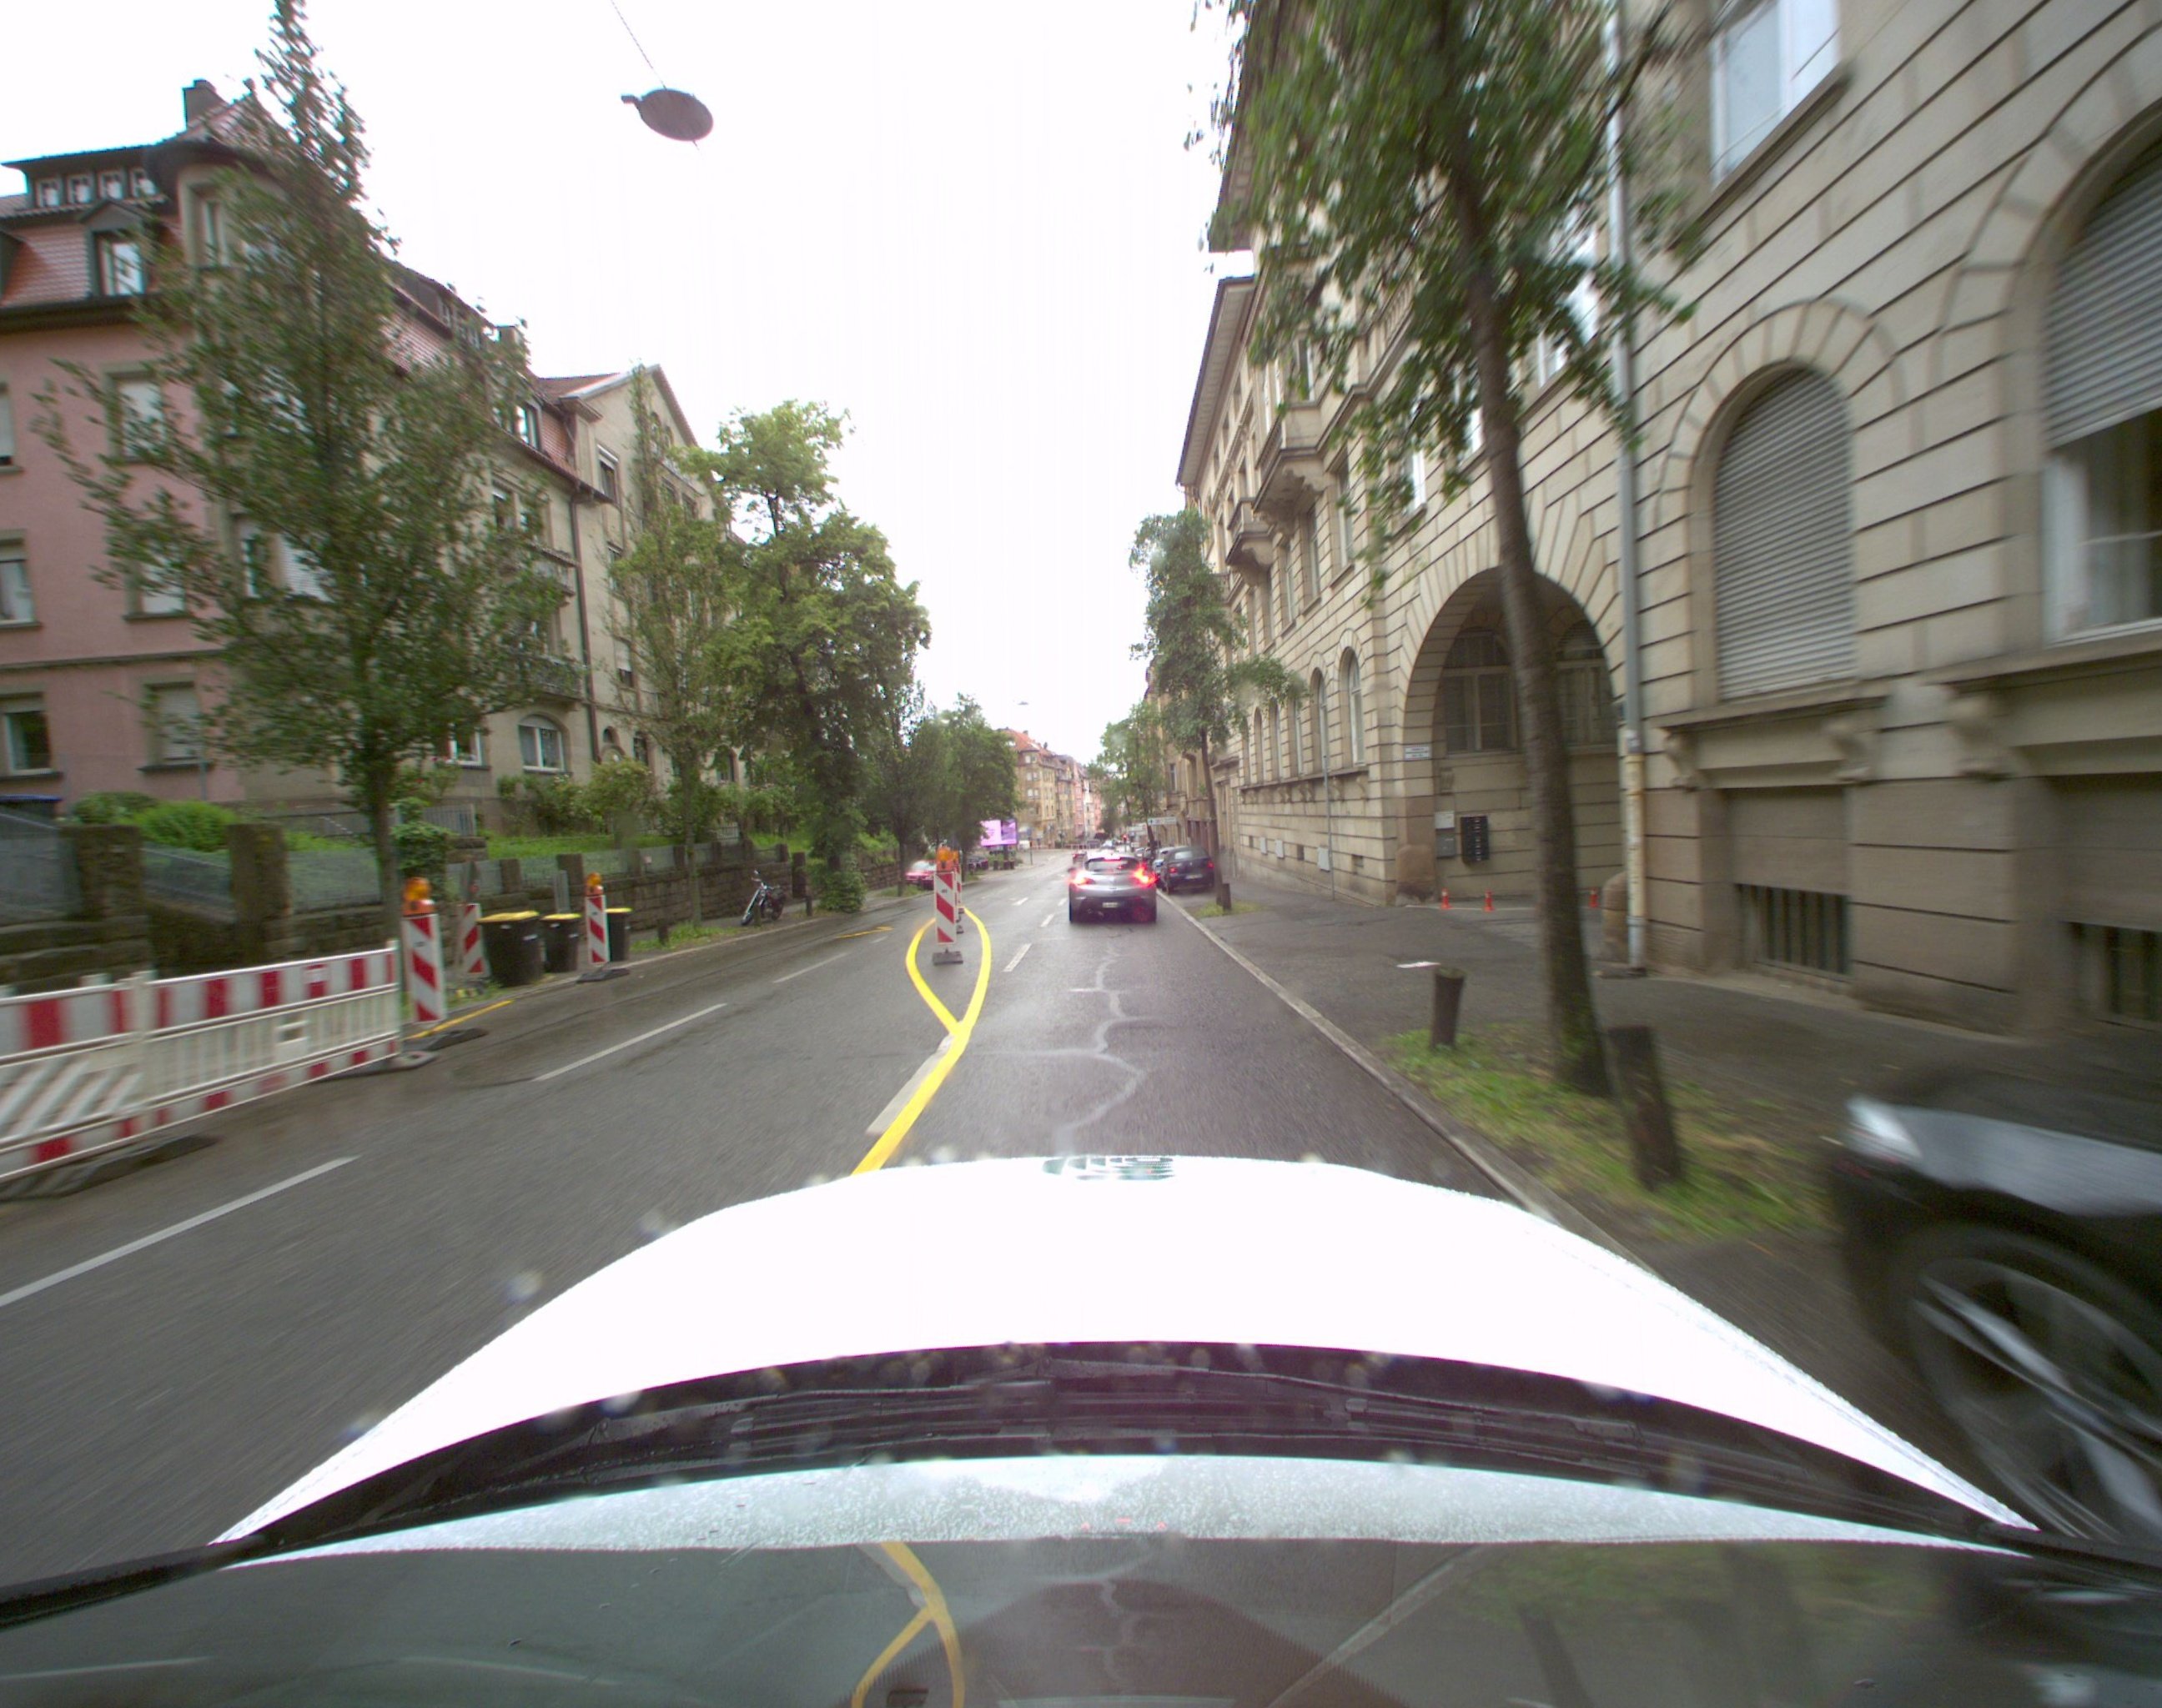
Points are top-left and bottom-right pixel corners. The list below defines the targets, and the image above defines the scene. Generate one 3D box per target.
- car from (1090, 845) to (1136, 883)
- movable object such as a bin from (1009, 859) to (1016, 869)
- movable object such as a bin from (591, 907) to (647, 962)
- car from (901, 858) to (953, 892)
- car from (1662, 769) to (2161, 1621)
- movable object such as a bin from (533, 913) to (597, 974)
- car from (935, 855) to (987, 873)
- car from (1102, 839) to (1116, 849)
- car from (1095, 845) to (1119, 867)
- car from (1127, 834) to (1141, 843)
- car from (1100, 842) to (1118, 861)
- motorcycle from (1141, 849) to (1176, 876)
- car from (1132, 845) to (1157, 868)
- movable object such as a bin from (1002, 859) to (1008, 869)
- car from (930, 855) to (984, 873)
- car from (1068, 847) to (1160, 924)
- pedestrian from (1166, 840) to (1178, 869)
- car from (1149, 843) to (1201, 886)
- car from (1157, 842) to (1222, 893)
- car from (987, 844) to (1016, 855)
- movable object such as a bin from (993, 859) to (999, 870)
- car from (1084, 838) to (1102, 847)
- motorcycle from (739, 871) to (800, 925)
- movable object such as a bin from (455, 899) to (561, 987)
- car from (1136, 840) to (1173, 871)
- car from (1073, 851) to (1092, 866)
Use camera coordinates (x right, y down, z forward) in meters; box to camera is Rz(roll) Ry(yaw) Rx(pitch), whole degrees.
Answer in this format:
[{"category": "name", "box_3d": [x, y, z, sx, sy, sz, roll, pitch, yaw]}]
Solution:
[{"category": "car", "box_3d": [1.365, 0.415, 36.046, 1.767, 1.504, 3.868, -2, 1, -1]}, {"category": "movable object such as a bin", "box_3d": [-7.153, 1.058, 84.744, 0.657, 1.058, 0.626, -1, 0, -7]}, {"category": "movable object such as a bin", "box_3d": [-8.287, 1.436, 14.637, 0.601, 0.907, 0.624, -1, 1, 3]}, {"category": "car", "box_3d": [-7.652, 0.993, 40.829, 1.631, 1.439, 4.082, -4, 1, 2]}, {"category": "car", "box_3d": [2.709, 0.563, 0.156, 1.752, 1.461, 4.724, -6, 0, 1]}, {"category": "movable object such as a bin", "box_3d": [-8.399, 1.450, 13.263, 0.601, 0.907, 0.624, -1, 1, 3]}, {"category": "car", "box_3d": [-10.703, 0.896, 72.529, 4.321, 1.243, 1.633, -4, 1, -18]}, {"category": "car", "box_3d": [5.224, -1.863, 150.470, 1.980, 1.684, 4.013, -1, 0, 12]}, {"category": "car", "box_3d": [2.050, 0.145, 65.839, 1.652, 1.542, 3.664, -5, 0, -1]}, {"category": "car", "box_3d": [10.212, -2.979, 156.891, 1.980, 1.684, 4.013, -1, 0, 12]}, {"category": "car", "box_3d": [2.697, -0.249, 77.812, 1.650, 1.782, 3.667, -2, 0, 2]}, {"category": "motorcycle", "box_3d": [3.841, 0.408, 40.130, 0.649, 1.235, 1.994, -2, -1, 41]}, {"category": "car", "box_3d": [4.722, 0.179, 61.270, 1.631, 1.524, 3.860, -4, 1, 2]}, {"category": "movable object such as a bin", "box_3d": [-7.774, 1.034, 83.658, 0.624, 1.058, 0.719, -1, 0, -4]}, {"category": "car", "box_3d": [-10.596, 0.827, 69.545, 4.321, 1.243, 1.633, -4, 1, -18]}, {"category": "car", "box_3d": [0.689, 0.613, 18.242, 1.805, 1.449, 3.870, -2, 1, 1]}, {"category": "pedestrian", "box_3d": [5.896, 0.051, 52.714, 0.713, 1.870, 0.636, -1, -1, 1]}, {"category": "car", "box_3d": [3.607, 0.355, 31.678, 1.631, 1.469, 3.860, -4, 1, 2]}, {"category": "car", "box_3d": [3.474, 0.390, 26.564, 1.631, 1.429, 3.377, -4, 1, 1]}, {"category": "car", "box_3d": [-12.474, -0.653, 128.292, 4.212, 1.585, 1.940, -1, 1, 1]}, {"category": "movable object such as a bin", "box_3d": [-8.756, 1.060, 83.761, 0.624, 1.058, 0.633, -1, 0, -5]}, {"category": "car", "box_3d": [2.569, -2.435, 175.316, 3.972, 1.750, 2.001, -1, 0, 1]}, {"category": "motorcycle", "box_3d": [-8.560, 1.175, 22.471, 0.762, 1.345, 2.204, -1, 0, 2]}, {"category": "movable object such as a bin", "box_3d": [-8.602, 1.318, 12.265, 0.941, 1.214, 0.857, -1, 1, 3]}, {"category": "car", "box_3d": [4.145, 0.074, 46.511, 1.632, 1.602, 3.856, -4, 1, -1]}, {"category": "car", "box_3d": [0.157, 0.509, 93.135, 1.986, 1.500, 4.002, -3, 0, 2]}]
